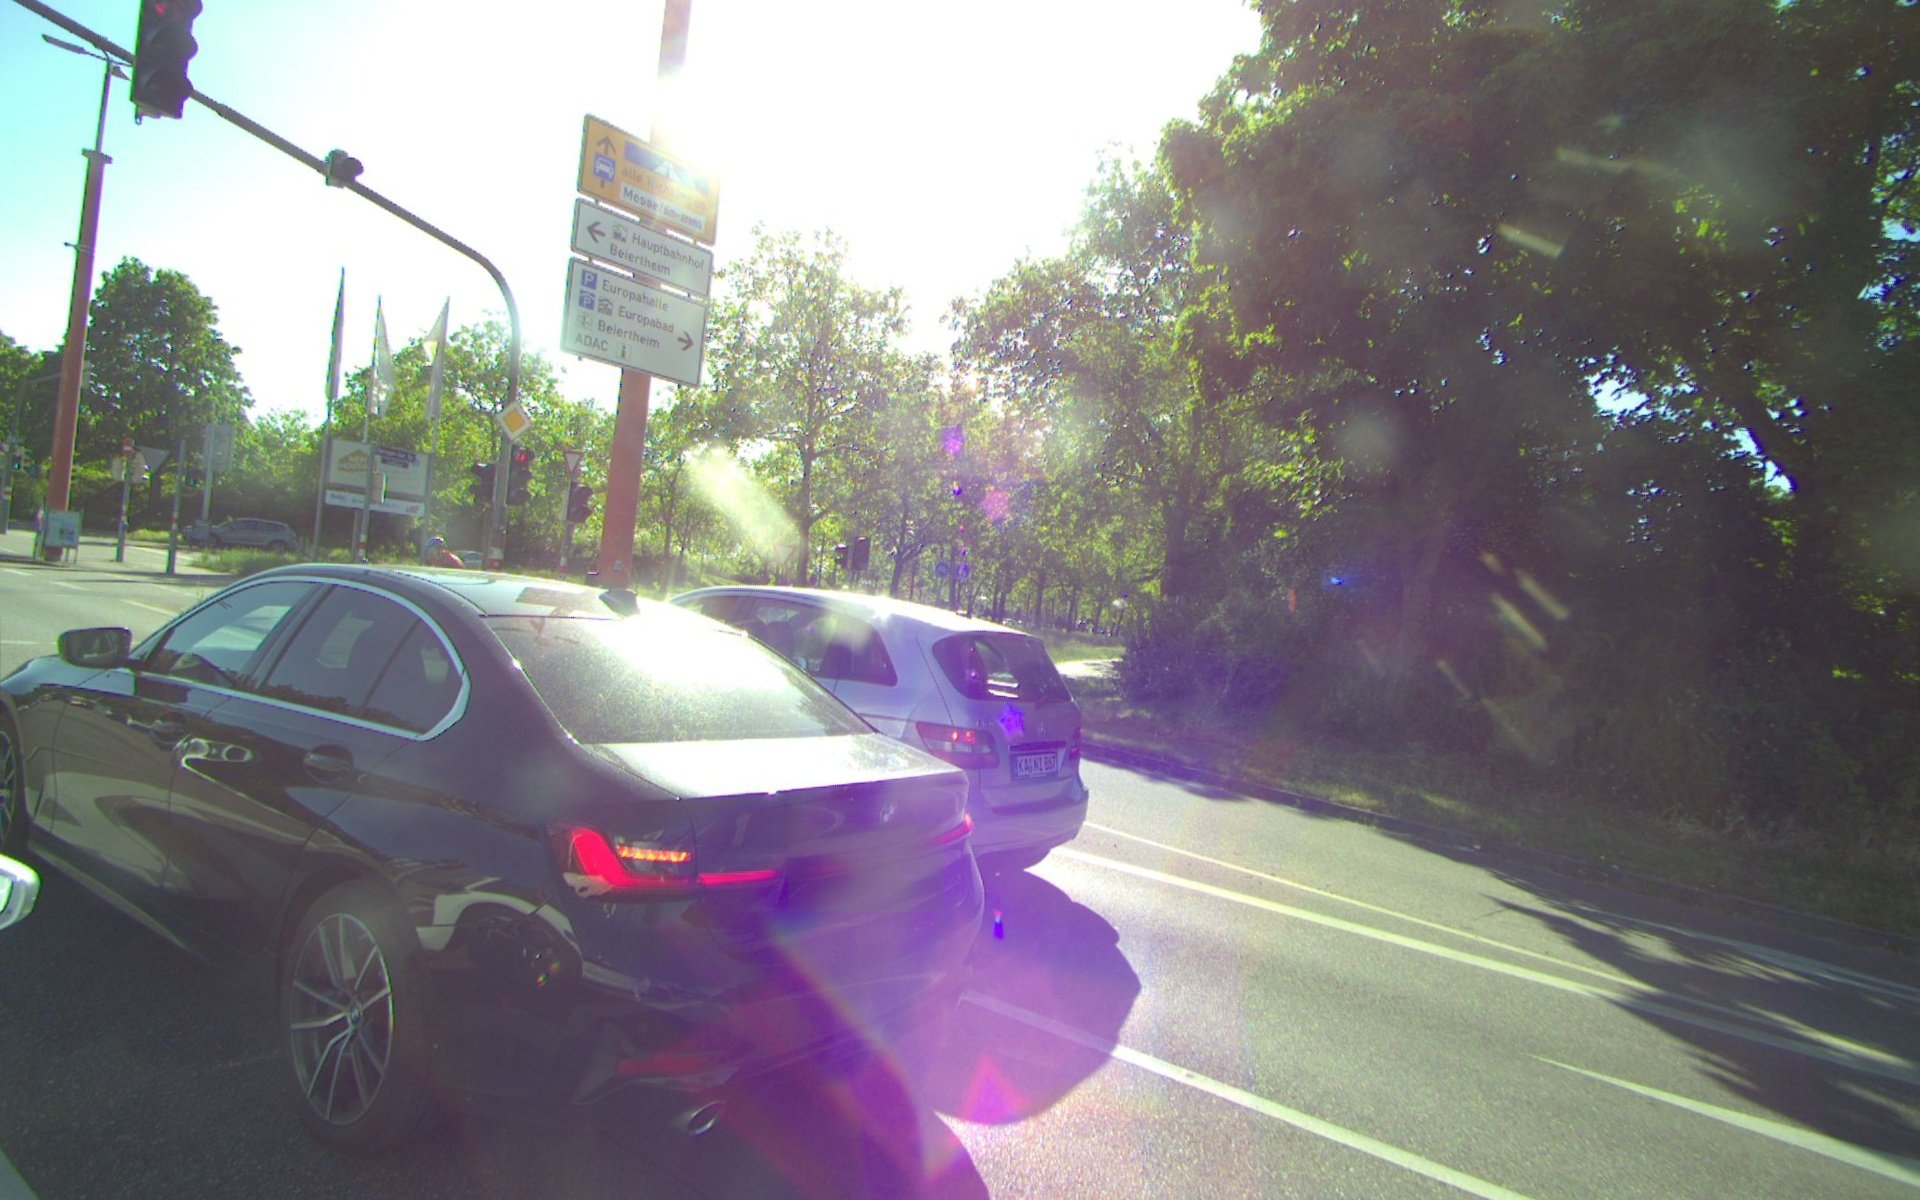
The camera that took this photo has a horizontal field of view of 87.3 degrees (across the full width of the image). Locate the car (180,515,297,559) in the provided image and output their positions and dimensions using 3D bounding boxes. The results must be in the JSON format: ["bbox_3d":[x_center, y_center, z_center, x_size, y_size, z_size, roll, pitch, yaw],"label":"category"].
[{"bbox_3d":[-35.304,-3.073,49.309,1.762,1.503,4.307,7,-1,43],"label":"car"}]

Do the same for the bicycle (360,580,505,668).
[{"bbox_3d":[-7.291,0.346,14.016,0.709,1.070,1.833,7,-1,11],"label":"bicycle"}]

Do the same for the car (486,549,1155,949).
[{"bbox_3d":[-1.011,0.707,6.481,3.963,1.597,1.741,7,0,33],"label":"car"}]

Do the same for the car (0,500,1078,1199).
[{"bbox_3d":[-1.993,0.544,3.828,4.371,1.415,1.871,7,0,33],"label":"car"}]

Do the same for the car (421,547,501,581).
[{"bbox_3d":[-29.158,-2.089,58.903,1.653,1.485,3.994,7,-1,23],"label":"car"}]

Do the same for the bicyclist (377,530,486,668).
[{"bbox_3d":[-7.276,0.004,13.896,0.722,1.763,0.997,7,0,8],"label":"bicyclist"}]
